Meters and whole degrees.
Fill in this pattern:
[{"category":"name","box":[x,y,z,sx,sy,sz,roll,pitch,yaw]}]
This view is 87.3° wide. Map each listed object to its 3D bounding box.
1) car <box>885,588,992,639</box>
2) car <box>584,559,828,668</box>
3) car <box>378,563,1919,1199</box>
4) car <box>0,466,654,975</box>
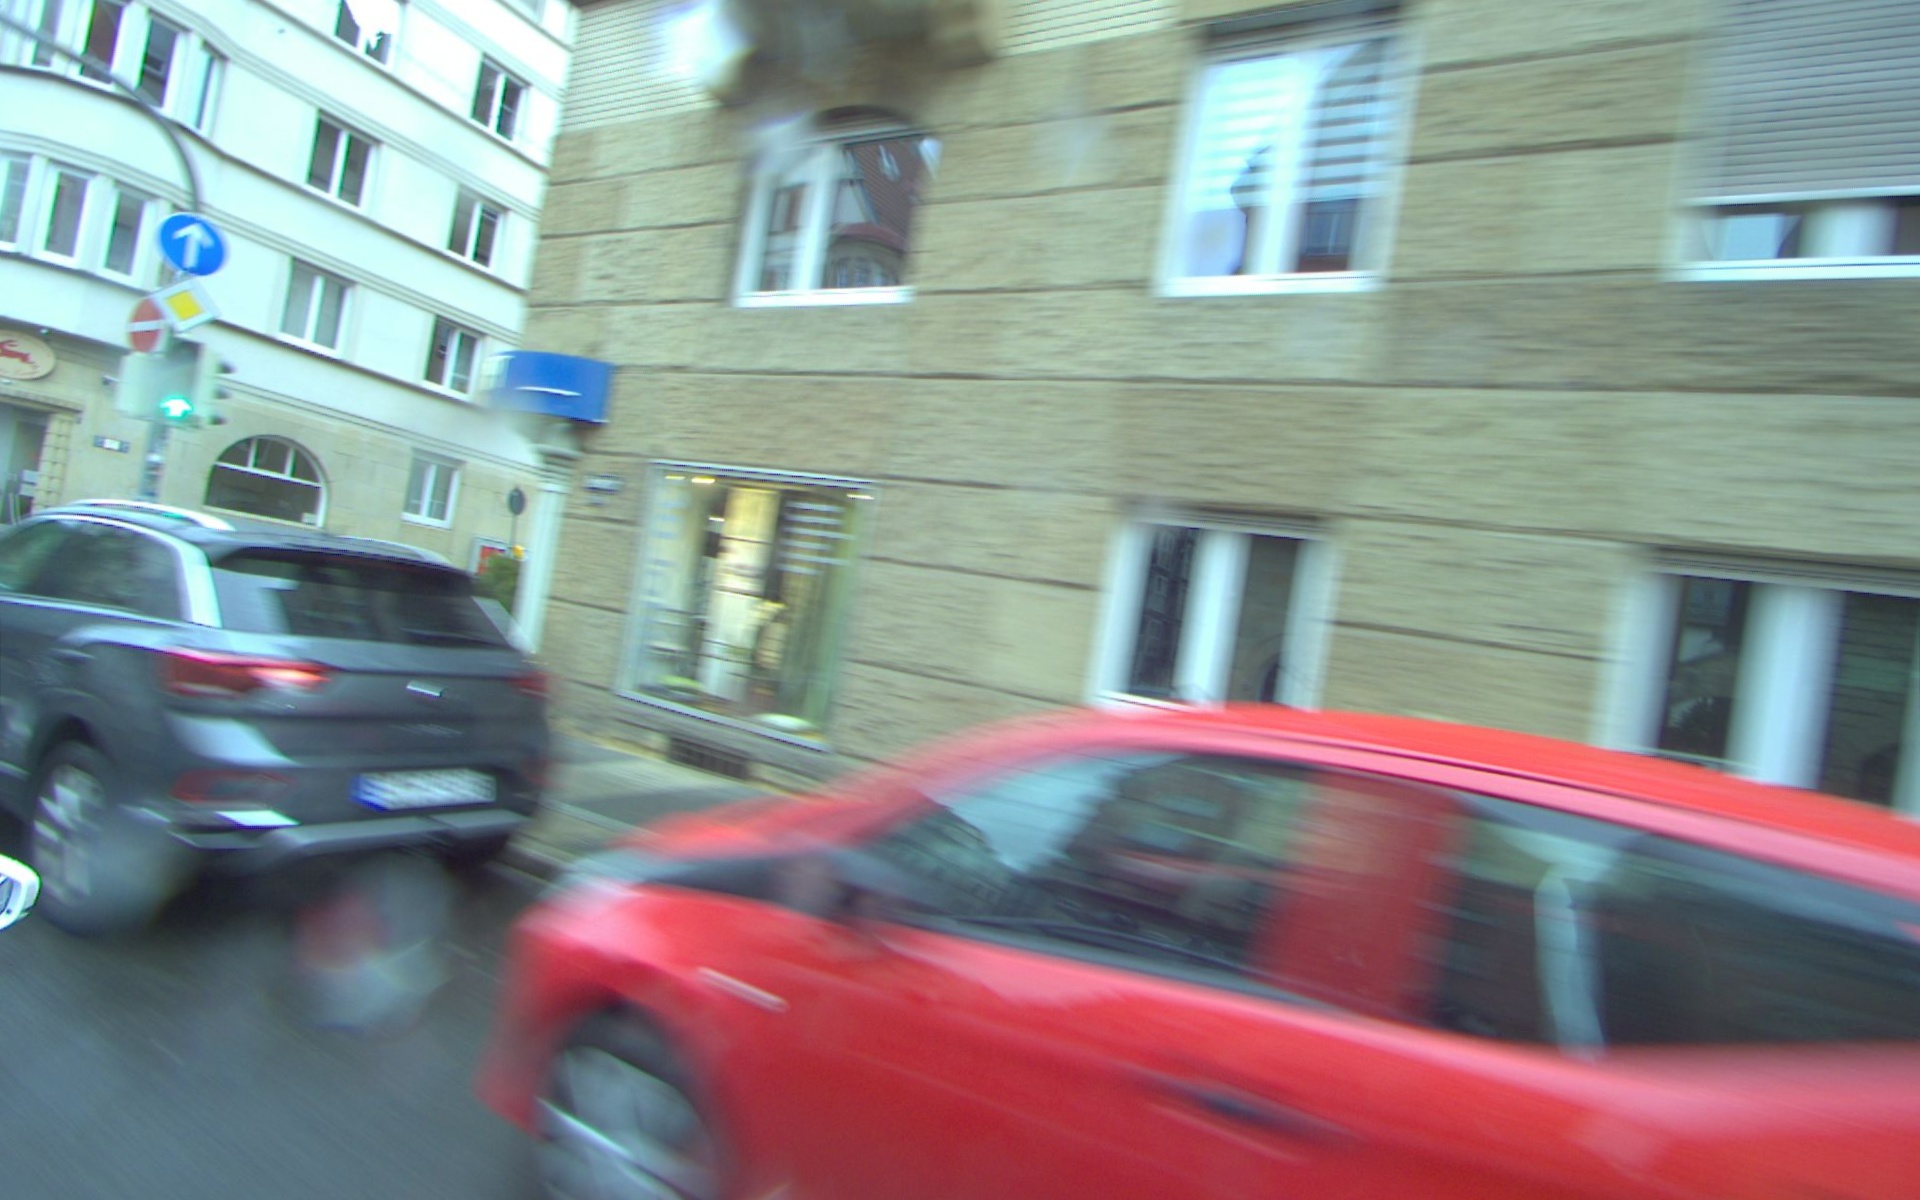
[{"category":"car","box":[-0.711,0.548,37.356,1.945,1.588,4.363,4,-1,29]},{"category":"car","box":[-4.760,0.333,19.560,1.843,1.673,4.515,8,1,30]},{"category":"car","box":[0.560,0.914,2.432,3.472,1.468,1.711,7,-3,29]},{"category":"car","box":[-3.698,0.331,4.993,3.924,1.565,1.873,6,-4,31]}]
